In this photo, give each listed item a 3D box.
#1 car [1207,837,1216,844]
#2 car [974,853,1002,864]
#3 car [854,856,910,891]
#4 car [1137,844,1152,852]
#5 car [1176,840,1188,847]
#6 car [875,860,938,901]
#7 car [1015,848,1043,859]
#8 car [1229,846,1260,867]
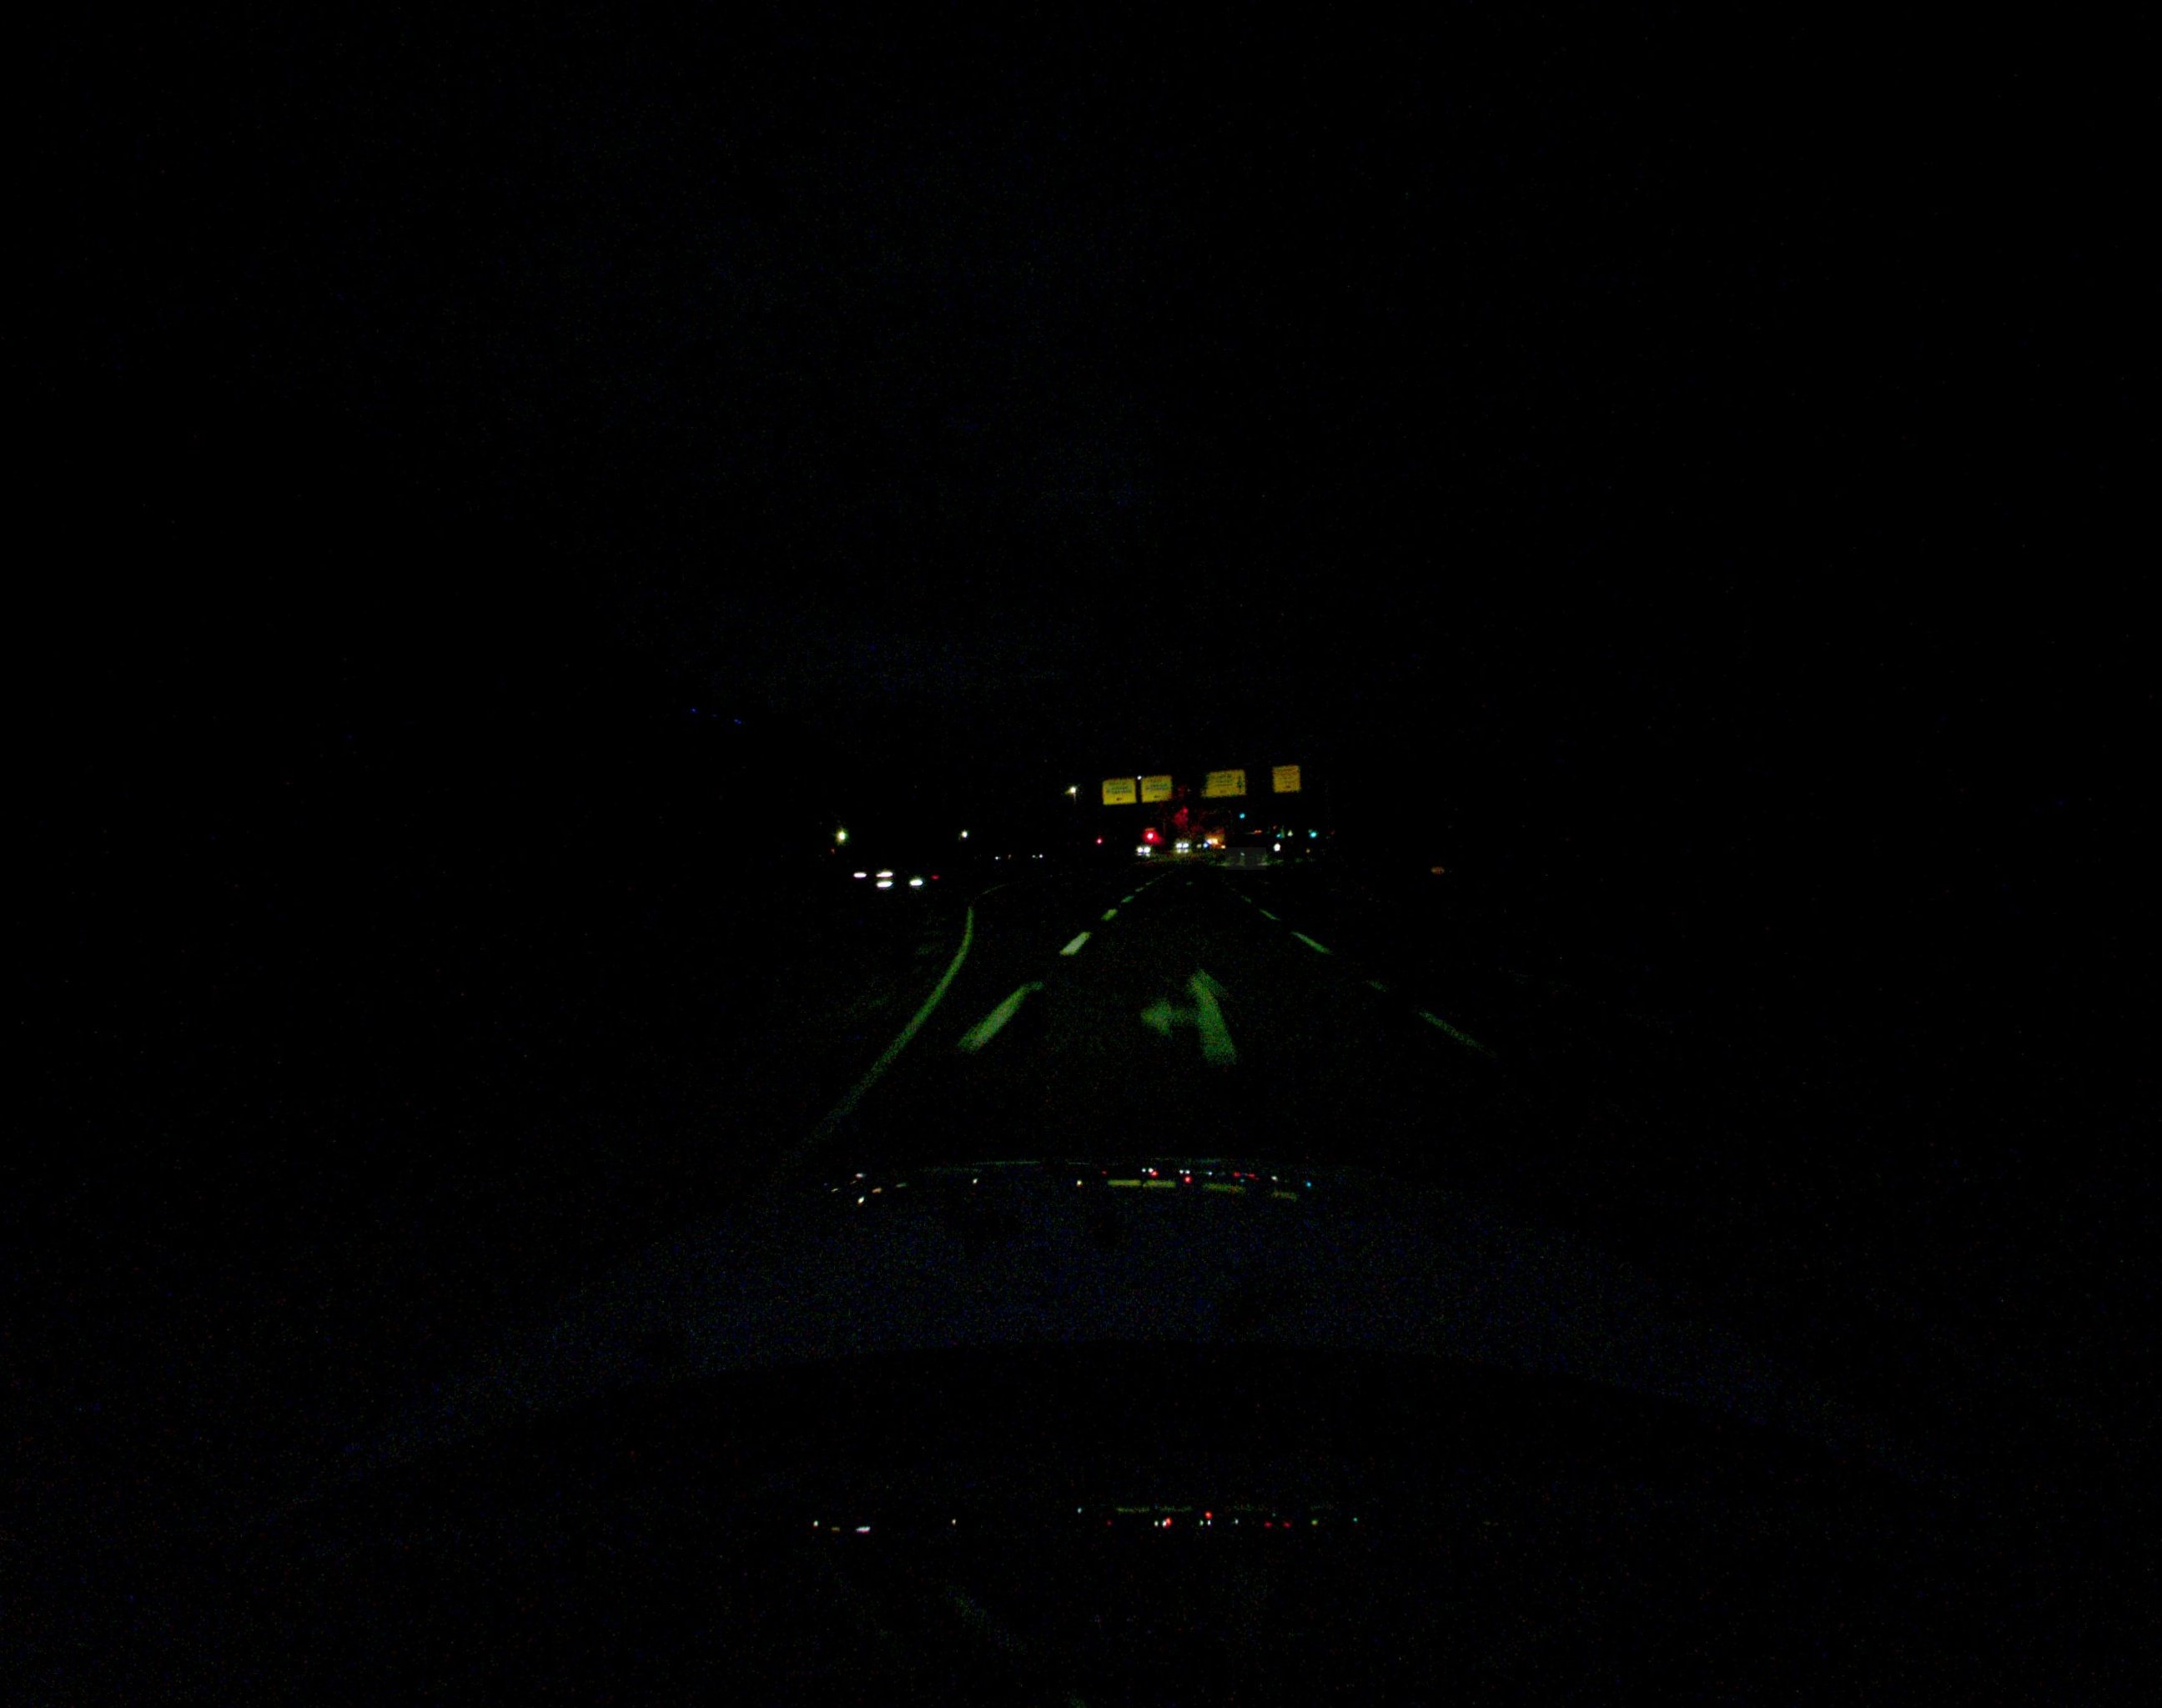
[{"bbox_3d":[33.982,-3.396,211.844,1.980,1.698,4.015,-2,1,13],"label":"car"},{"bbox_3d":[-14.595,0.668,128.172,3.965,1.473,1.733,-3,0,7],"label":"car"},{"bbox_3d":[-10.582,1.000,43.639,1.694,1.622,4.310,-2,0,3],"label":"car"},{"bbox_3d":[12.073,-1.099,154.462,1.980,1.425,4.549,-2,1,13],"label":"car"},{"bbox_3d":[22.564,-2.309,181.732,1.980,1.481,4.699,-2,1,13],"label":"car"},{"bbox_3d":[-7.448,1.102,35.099,1.686,1.533,4.002,-2,1,2],"label":"car"},{"bbox_3d":[-8.345,-0.017,130.055,4.015,1.537,1.735,-3,0,11],"label":"car"},{"bbox_3d":[12.944,0.196,64.355,1.992,1.611,3.862,-1,0,16],"label":"car"}]
